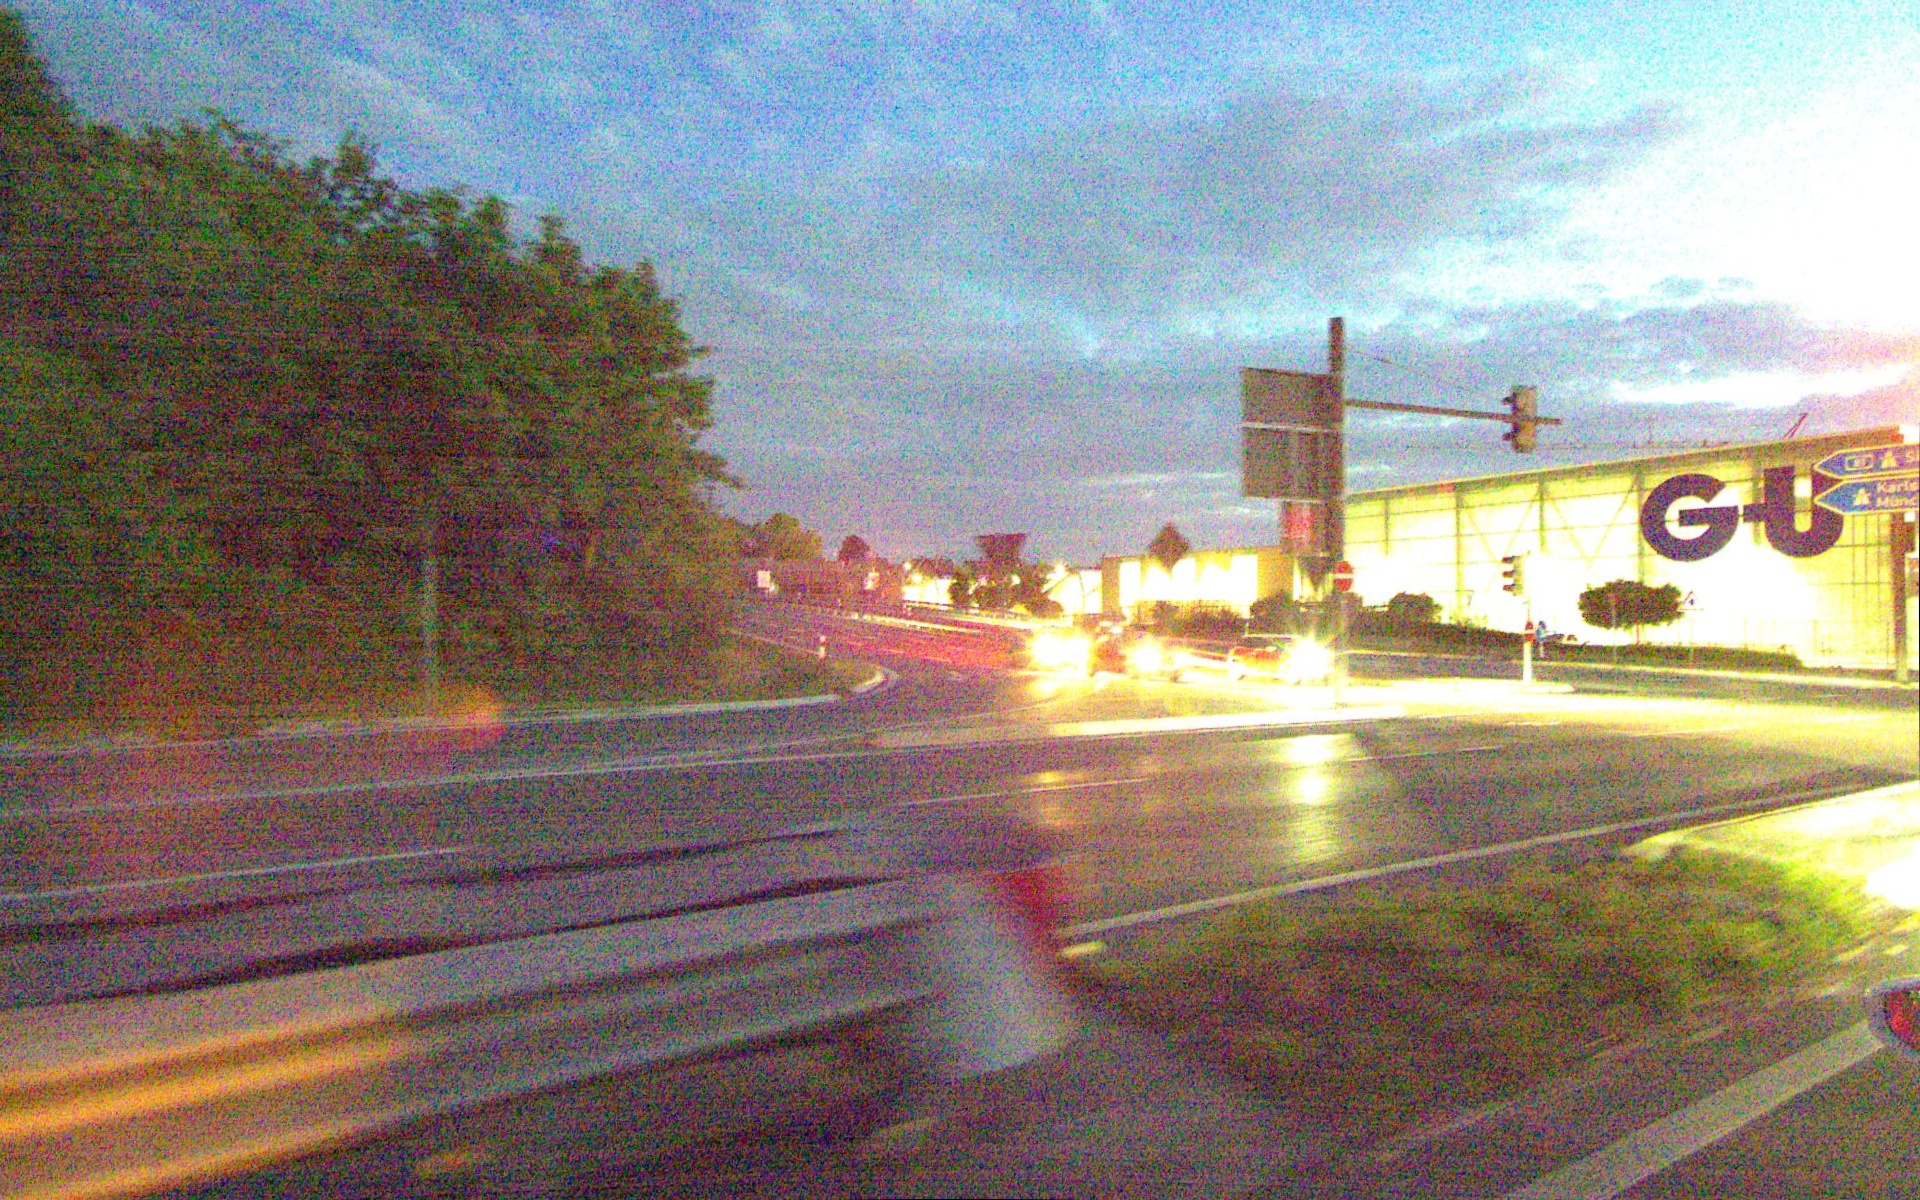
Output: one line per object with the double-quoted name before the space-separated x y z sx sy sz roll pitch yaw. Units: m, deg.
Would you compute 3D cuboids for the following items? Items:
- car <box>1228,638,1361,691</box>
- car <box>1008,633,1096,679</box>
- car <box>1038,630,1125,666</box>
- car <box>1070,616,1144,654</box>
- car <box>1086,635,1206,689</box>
"car" 10.034 1.910 30.385 1.681 1.494 3.848 2 -3 -24
"car" 3.339 2.029 37.128 1.664 1.479 3.792 0 0 -22
"car" 5.119 2.018 42.836 1.971 1.416 3.979 1 -1 -23
"car" 8.643 2.066 59.324 1.984 2.040 3.952 2 0 -41
"car" 5.586 1.847 30.695 1.735 1.479 3.979 2 -2 -22
